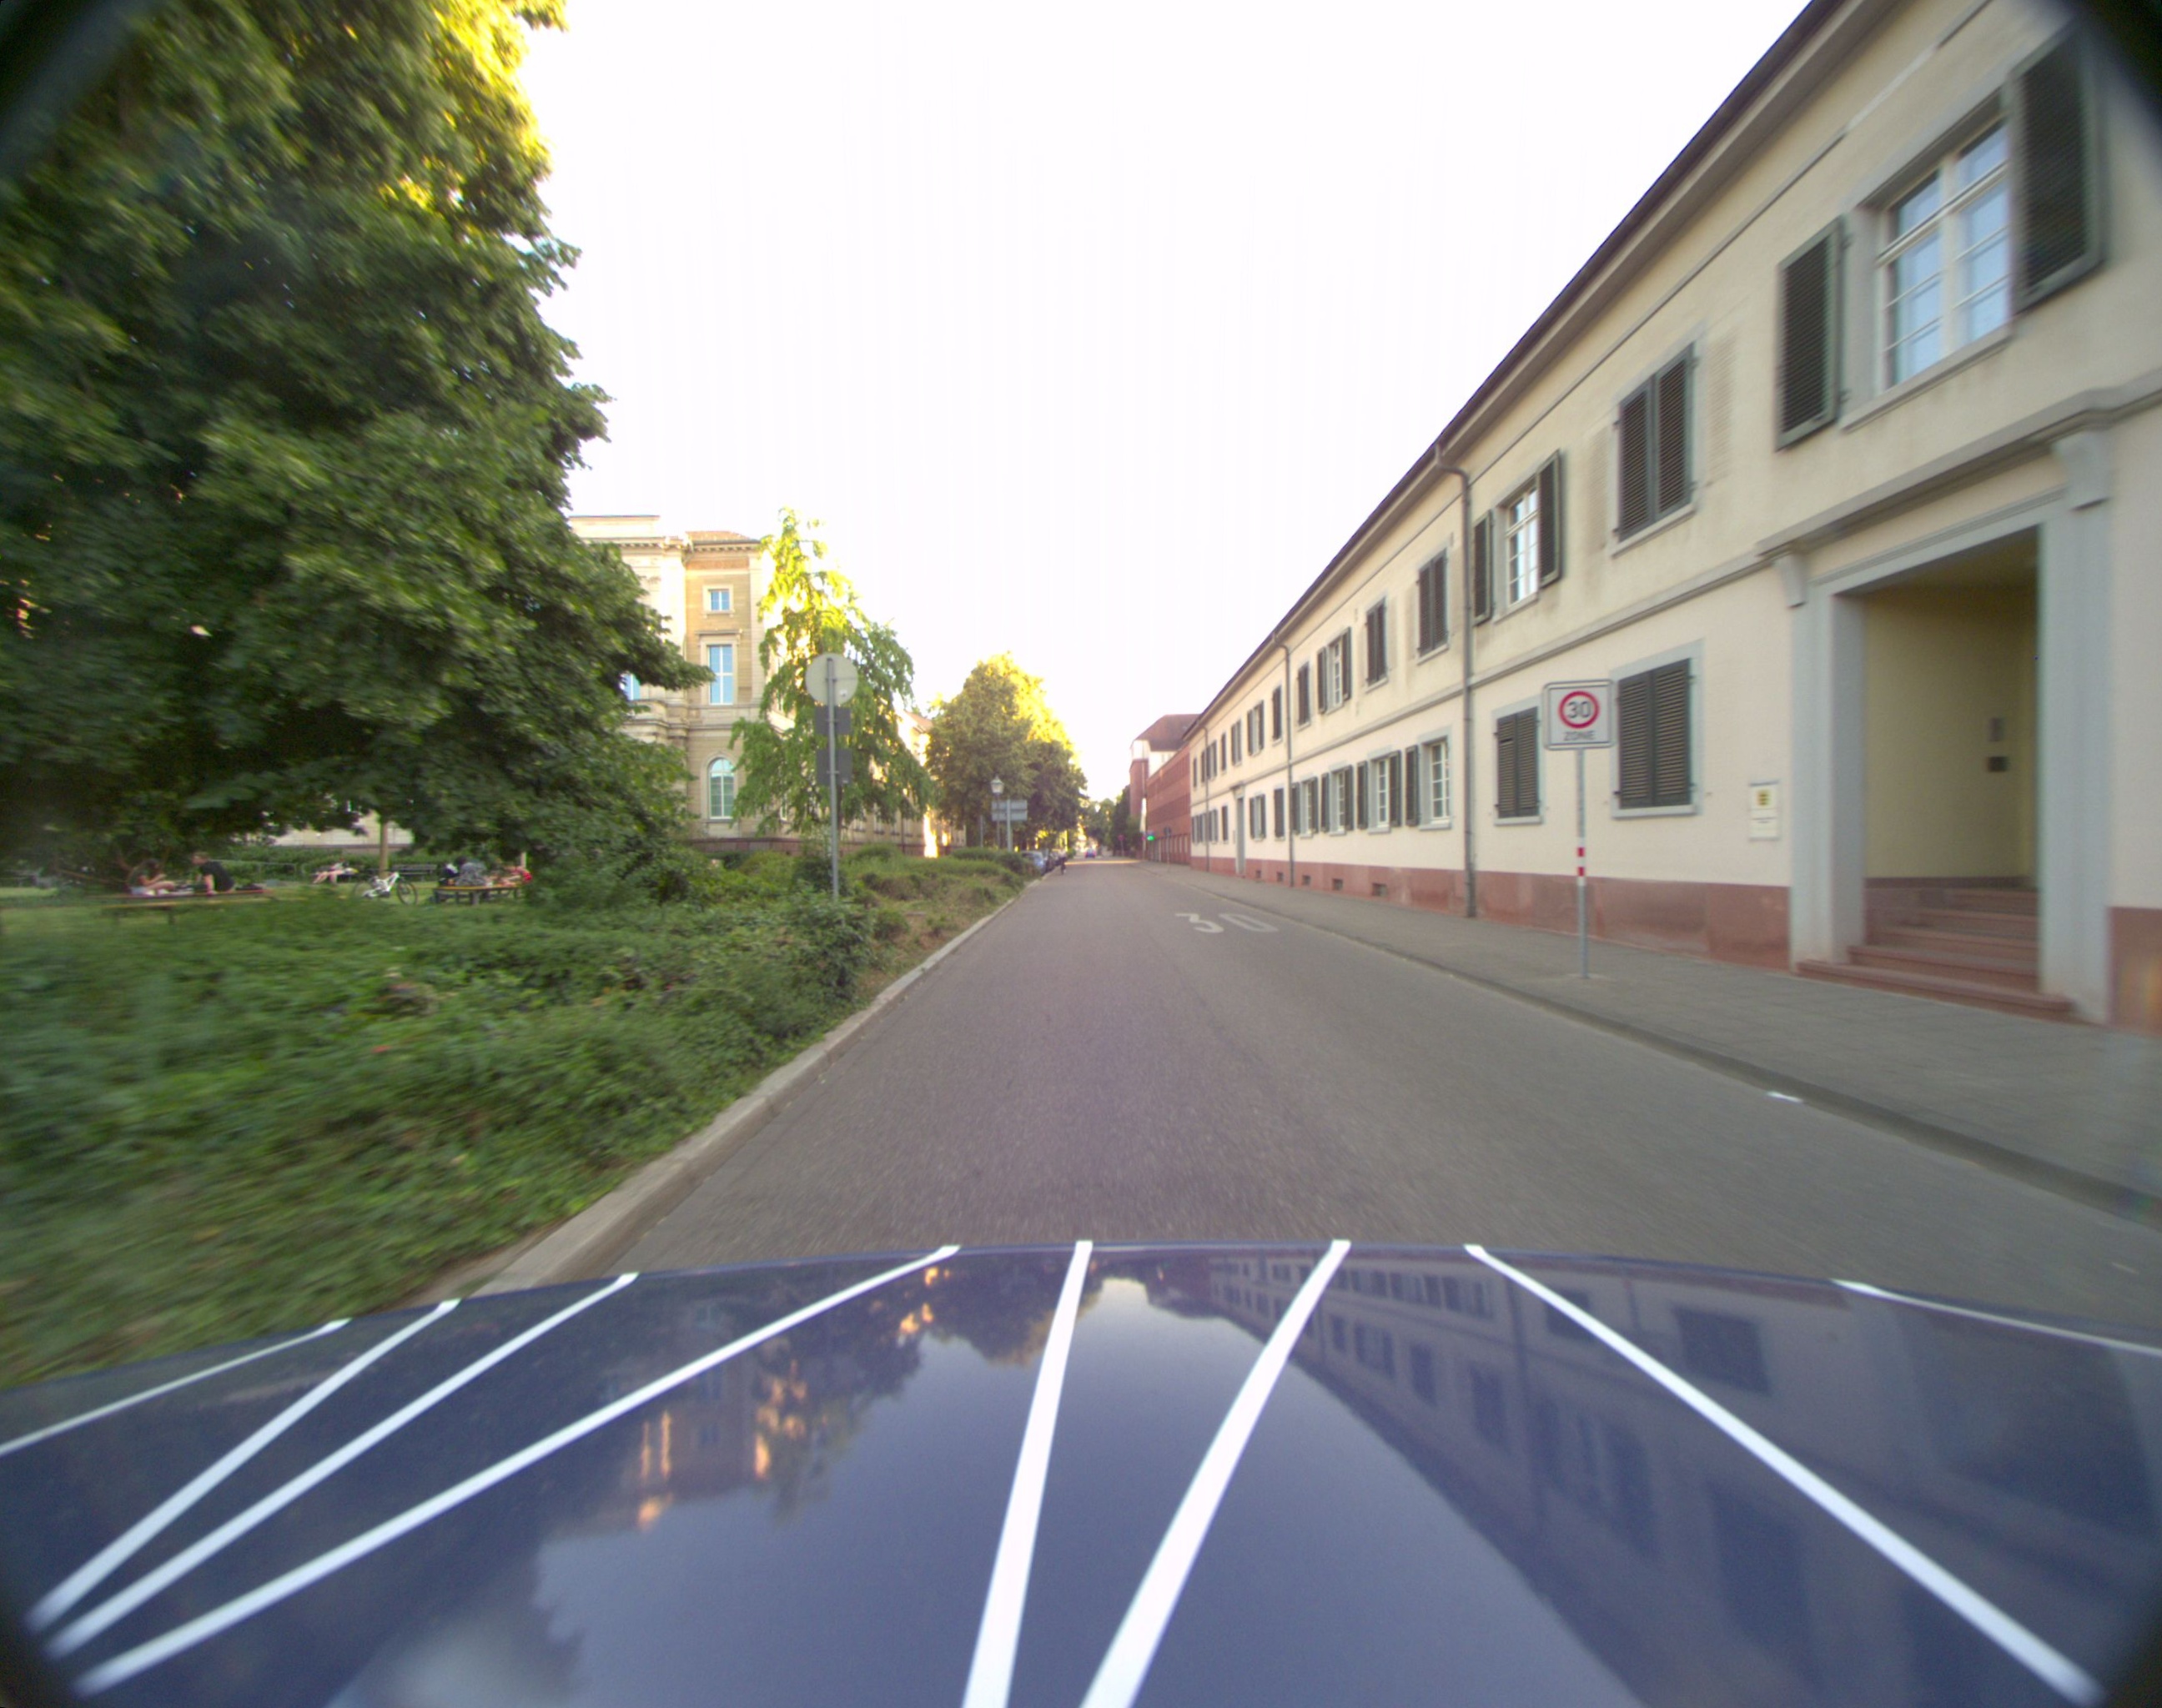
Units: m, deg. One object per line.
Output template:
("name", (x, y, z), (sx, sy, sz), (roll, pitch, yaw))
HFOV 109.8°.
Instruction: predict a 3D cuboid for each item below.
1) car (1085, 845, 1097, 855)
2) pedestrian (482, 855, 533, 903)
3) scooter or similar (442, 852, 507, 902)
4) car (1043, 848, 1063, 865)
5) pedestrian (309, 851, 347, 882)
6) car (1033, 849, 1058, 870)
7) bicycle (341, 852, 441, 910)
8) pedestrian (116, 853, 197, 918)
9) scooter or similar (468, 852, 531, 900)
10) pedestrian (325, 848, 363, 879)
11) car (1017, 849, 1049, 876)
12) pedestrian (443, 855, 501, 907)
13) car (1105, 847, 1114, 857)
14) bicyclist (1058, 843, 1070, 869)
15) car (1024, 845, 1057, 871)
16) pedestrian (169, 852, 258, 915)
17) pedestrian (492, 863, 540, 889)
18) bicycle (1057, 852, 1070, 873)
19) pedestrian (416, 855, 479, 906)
("car", (1.961, -0.828, 151.489), (1.999, 1.863, 5.108), (-1, -1, -2))
("pedestrian", (-14.595, 0.617, 19.343), (0.663, 1.185, 0.797), (1, 1, 28))
("scooter or similar", (-15.411, 0.581, 19.331), (1.221, 1.238, 0.417), (0, 1, -16))
("car", (-2.721, 0.235, 74.796), (1.739, 1.498, 4.521), (4, 1, 0))
("pedestrian", (-34.684, 0.579, 34.993), (0.695, 1.389, 1.044), (0, 1, 1))
("car", (-2.685, 0.410, 58.577), (1.728, 1.529, 4.189), (0, 0, 0))
("bicycle", (-16.338, 0.600, 18.060), (0.621, 1.292, 2.018), (0, 1, -4))
("pedestrian", (-19.798, 0.663, 16.296), (0.762, 1.339, 0.786), (0, 1, -16))
("scooter or similar", (-15.251, 0.578, 19.946), (1.221, 1.238, 0.418), (0, 1, -12))
("pedestrian", (-33.800, 0.419, 34.845), (0.695, 1.389, 1.044), (0, 1, 1))
("car", (-2.890, 0.489, 46.636), (1.728, 1.480, 4.609), (3, 1, -1))
("pedestrian", (-14.399, 0.625, 17.978), (0.724, 1.185, 0.747), (0, 1, 4))
("car", (6.467, -0.475, 174.367), (1.886, 2.040, 4.324), (0, 1, 0))
("bicyclist", (-1.083, 0.140, 47.952), (0.753, 1.603, 1.038), (0, 1, -2))
("car", (-2.758, 0.246, 52.380), (1.728, 1.642, 4.713), (0, 1, 3))
("pedestrian", (-18.988, 0.624, 16.653), (0.920, 1.339, 0.883), (0, 1, -15))
("pedestrian", (-13.928, 0.529, 18.758), (0.542, 0.546, 1.375), (3, 0, -19))
("bicycle", (-1.107, 0.520, 47.937), (0.753, 1.245, 2.209), (0, 0, -2))
("pedestrian", (-15.169, 0.614, 18.211), (0.808, 1.185, 0.789), (0, 1, 4))
